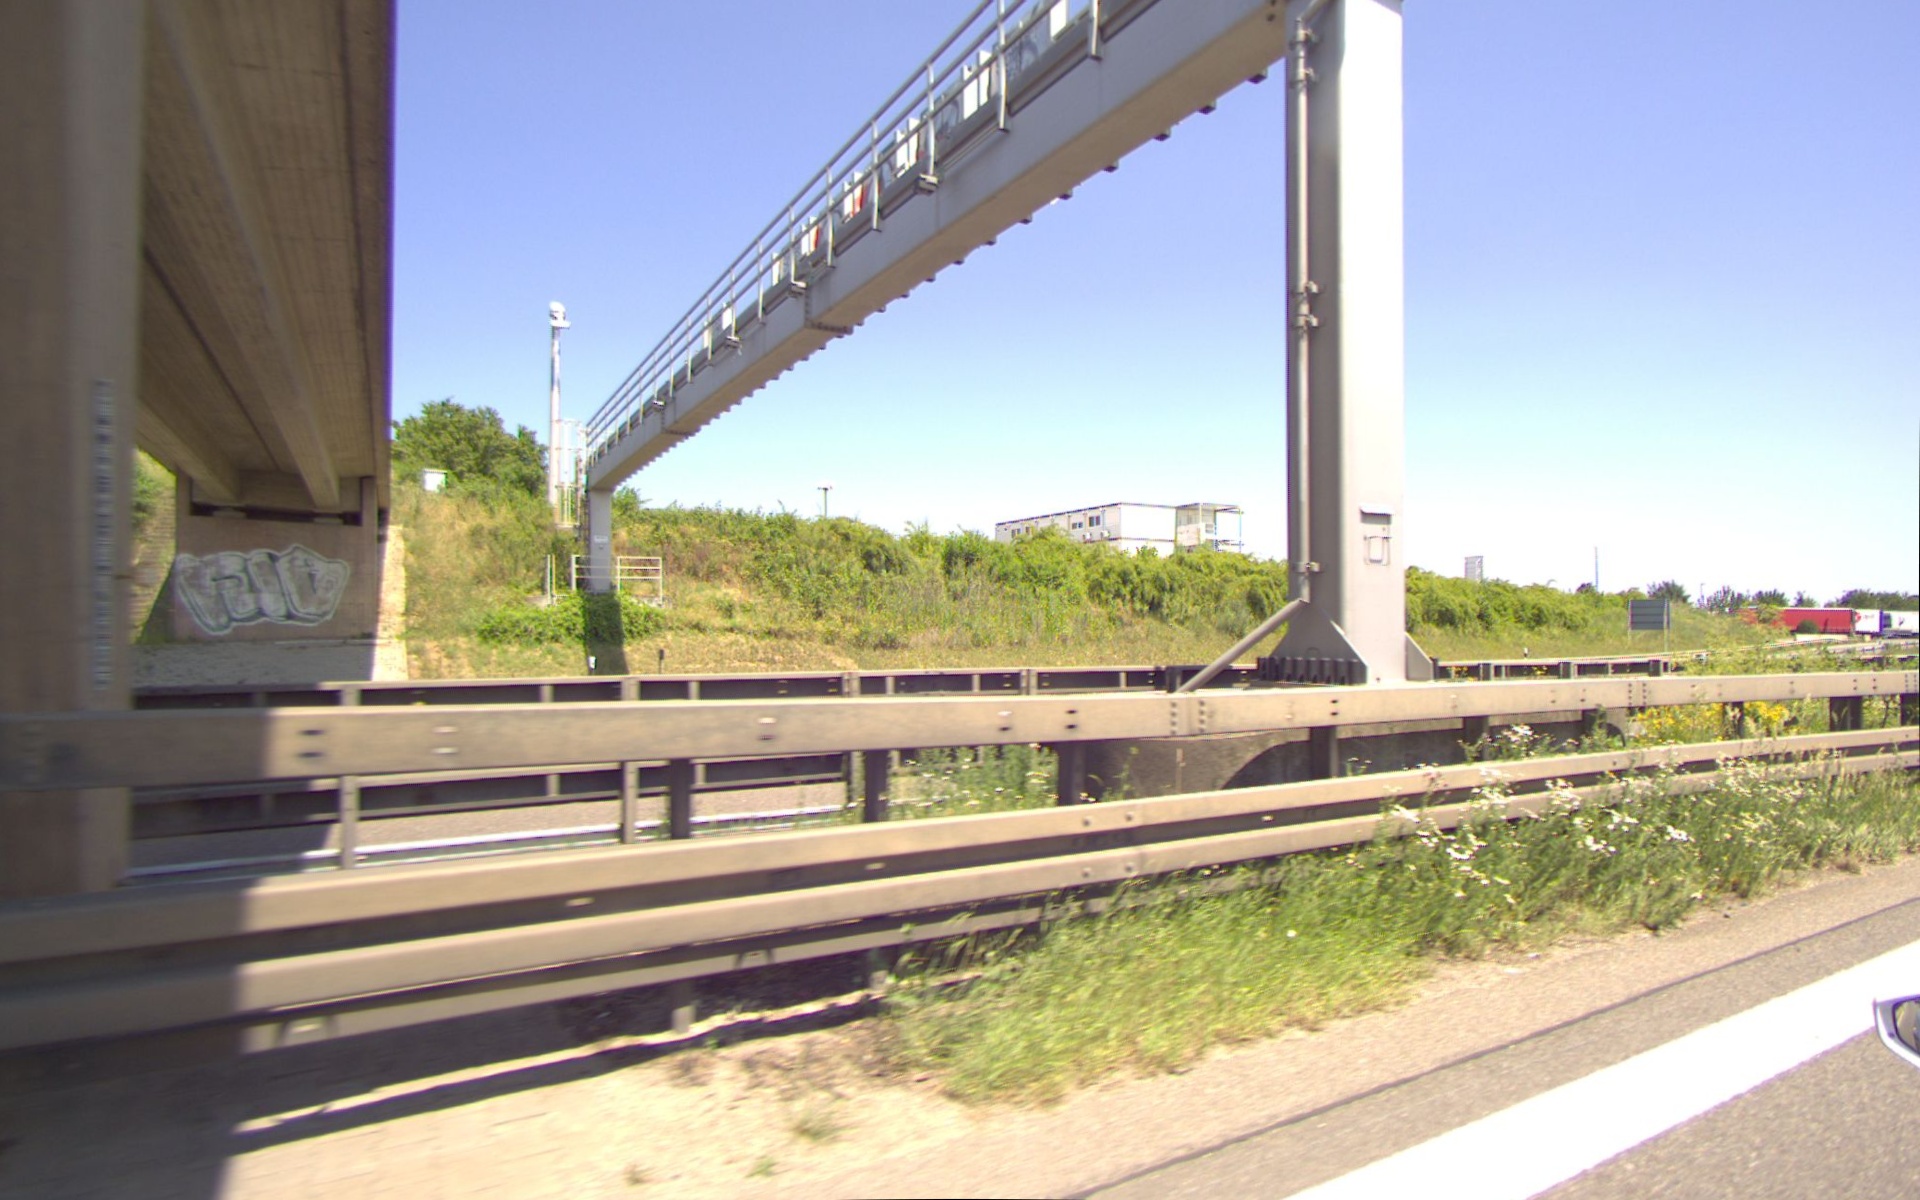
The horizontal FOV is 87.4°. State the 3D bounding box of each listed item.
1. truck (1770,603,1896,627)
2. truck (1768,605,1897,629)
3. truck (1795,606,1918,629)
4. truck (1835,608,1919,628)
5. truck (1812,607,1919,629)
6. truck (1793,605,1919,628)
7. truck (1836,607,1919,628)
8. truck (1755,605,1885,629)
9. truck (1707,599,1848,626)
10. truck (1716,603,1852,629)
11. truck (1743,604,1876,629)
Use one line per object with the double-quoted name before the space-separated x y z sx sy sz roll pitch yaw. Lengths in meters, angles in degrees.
"truck" 129.071 2.182 148.705 14.167 3.181 2.662 1 0 17
"truck" 126.419 2.379 145.771 14.167 3.181 2.662 1 0 17
"truck" 136.849 2.632 153.491 14.167 3.181 2.662 1 0 17
"truck" 158.068 3.055 170.721 14.167 3.181 2.662 1 0 17
"truck" 144.324 2.780 159.174 14.167 3.181 2.662 1 0 17
"truck" 134.124 2.482 150.608 14.167 3.181 2.662 1 0 17
"truck" 150.579 2.895 161.970 14.167 3.181 2.662 1 0 17
"truck" 122.193 2.396 143.023 14.167 3.181 2.662 1 0 17
"truck" 105.680 1.621 130.133 14.167 3.181 2.662 1 0 17
"truck" 110.378 2.165 134.857 14.167 3.181 2.662 1 0 17
"truck" 118.622 2.328 140.508 14.167 3.181 2.662 1 0 17
